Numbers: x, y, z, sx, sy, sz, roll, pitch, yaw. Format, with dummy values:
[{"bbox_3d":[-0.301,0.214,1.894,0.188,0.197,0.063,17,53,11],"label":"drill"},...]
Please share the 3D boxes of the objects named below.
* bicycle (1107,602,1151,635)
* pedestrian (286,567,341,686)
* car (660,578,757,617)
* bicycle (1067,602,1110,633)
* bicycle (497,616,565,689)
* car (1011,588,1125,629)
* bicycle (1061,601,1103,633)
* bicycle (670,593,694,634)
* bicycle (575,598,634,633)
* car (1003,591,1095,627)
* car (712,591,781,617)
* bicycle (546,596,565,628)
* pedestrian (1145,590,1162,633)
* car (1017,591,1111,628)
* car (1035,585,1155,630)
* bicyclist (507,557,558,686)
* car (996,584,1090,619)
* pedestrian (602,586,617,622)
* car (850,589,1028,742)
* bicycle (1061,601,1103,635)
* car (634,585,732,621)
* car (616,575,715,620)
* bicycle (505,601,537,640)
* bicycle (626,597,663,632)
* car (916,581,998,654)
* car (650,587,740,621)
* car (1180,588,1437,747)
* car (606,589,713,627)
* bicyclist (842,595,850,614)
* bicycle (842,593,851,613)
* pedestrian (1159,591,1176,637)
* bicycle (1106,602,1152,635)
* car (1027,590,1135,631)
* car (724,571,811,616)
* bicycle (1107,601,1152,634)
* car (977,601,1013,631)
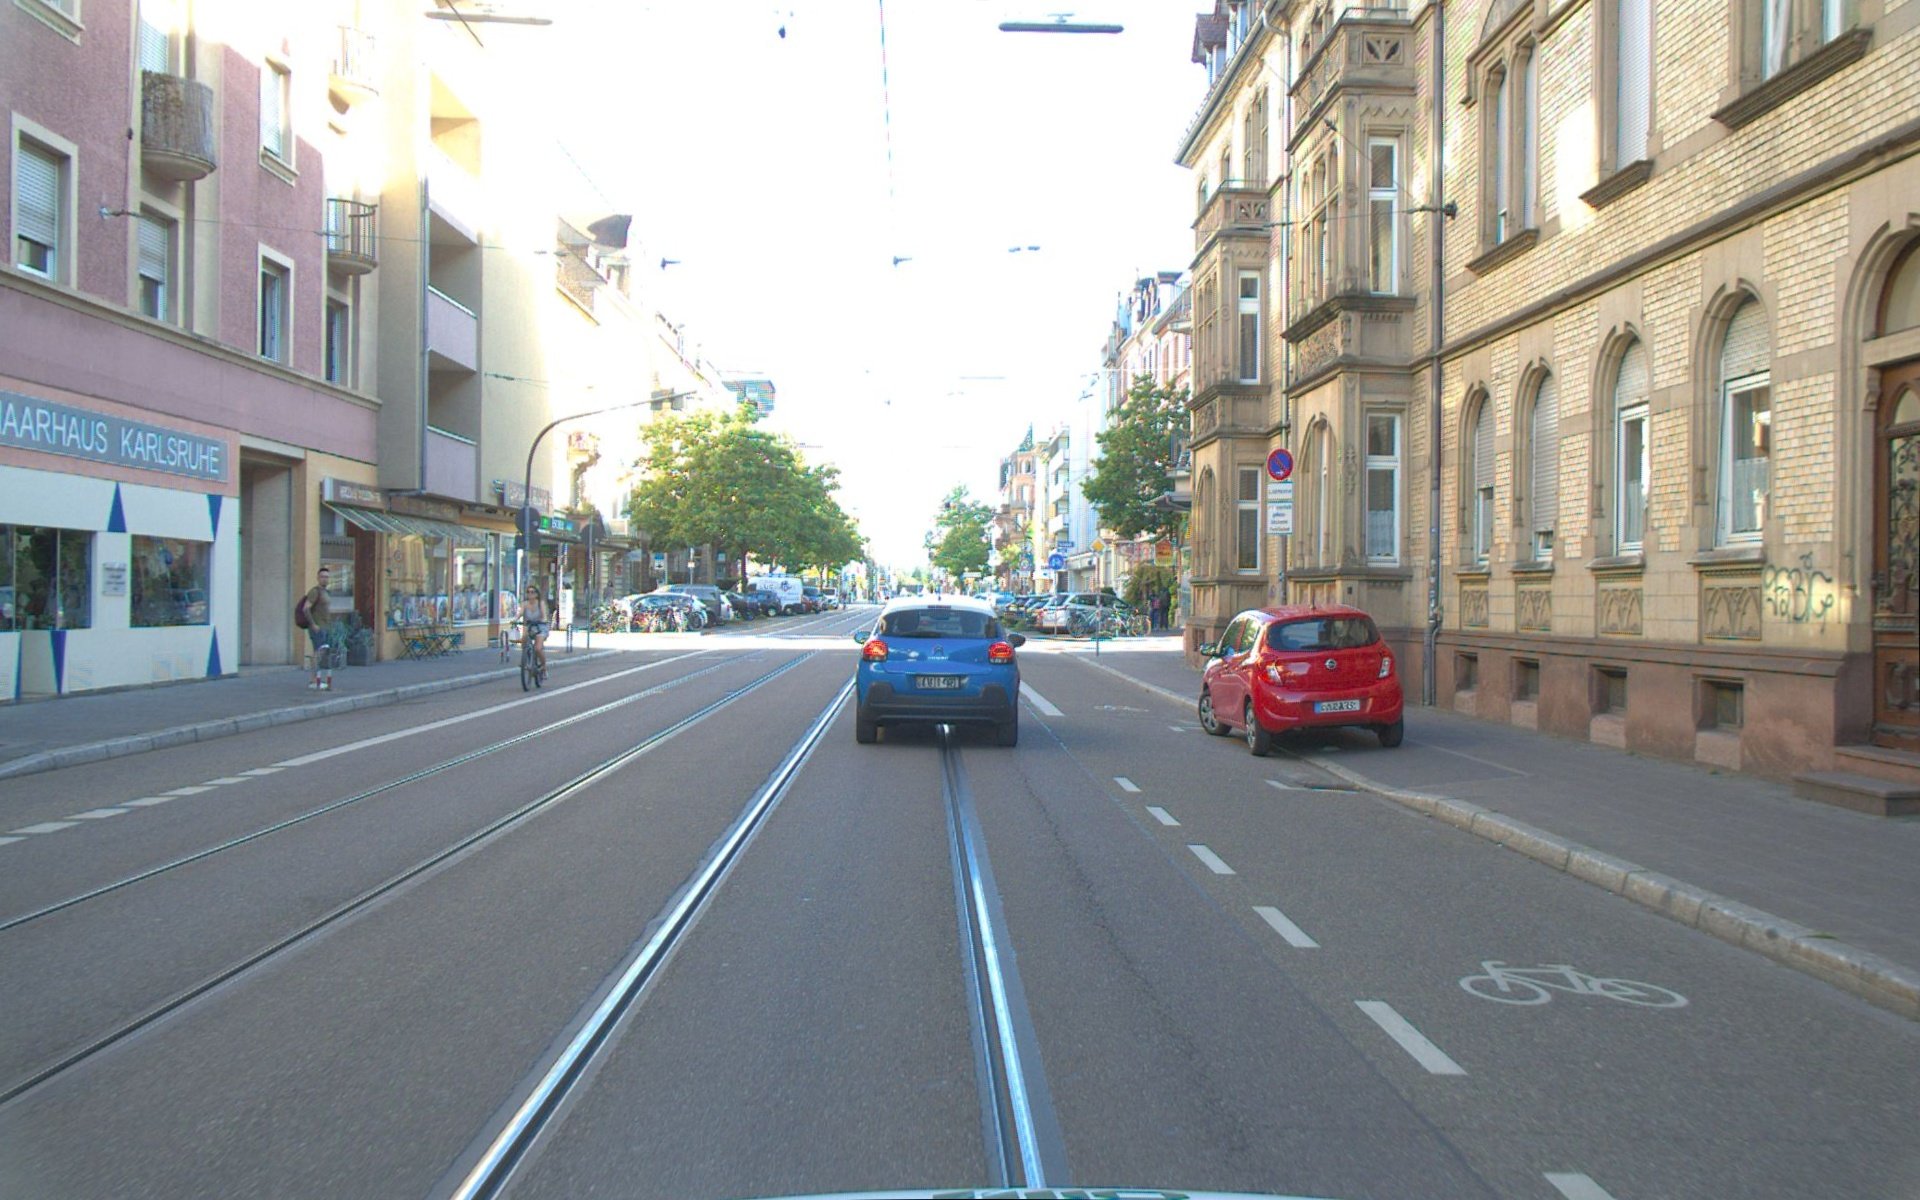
[{"bbox_3d":[6.013,0.646,58.859,1.523,1.147,0.528,1,0,5],"label":"bicycle"},{"bbox_3d":[-9.500,0.389,24.316,0.552,1.715,0.616,1,-1,-3],"label":"pedestrian"},{"bbox_3d":[-12.365,-0.114,81.330,4.314,1.814,1.972,1,0,-34],"label":"car"},{"bbox_3d":[4.694,0.639,60.384,1.523,1.098,0.307,1,-1,5],"label":"bicycle"},{"bbox_3d":[-6.965,0.838,26.938,0.590,1.115,2.044,-2,0,-1],"label":"bicycle"},{"bbox_3d":[4.552,0.362,69.709,4.380,1.624,2.071,1,0,-26],"label":"car"},{"bbox_3d":[4.491,0.619,60.782,1.527,1.147,0.295,1,-1,5],"label":"bicycle"},{"bbox_3d":[-9.977,0.455,59.434,0.668,1.342,2.433,1,2,-5],"label":"bicycle"},{"bbox_3d":[-12.555,0.532,58.348,2.390,1.128,0.680,3,3,39],"label":"bicycle"},{"bbox_3d":[4.317,0.429,79.891,3.938,1.624,2.070,1,0,-26],"label":"car"},{"bbox_3d":[-13.046,0.233,101.005,3.925,1.515,1.797,1,0,-18],"label":"car"},{"bbox_3d":[-14.398,0.417,58.810,0.397,1.129,1.825,0,0,-22],"label":"bicycle"},{"bbox_3d":[7.615,0.452,65.196,0.507,1.677,0.863,1,0,-1],"label":"pedestrian"},{"bbox_3d":[4.840,0.430,77.069,3.938,1.624,1.943,1,0,-26],"label":"car"},{"bbox_3d":[5.234,0.290,64.047,4.298,1.624,1.838,1,0,-26],"label":"car"},{"bbox_3d":[-6.936,0.346,26.879,0.599,2.049,0.733,1,-1,-1],"label":"bicyclist"},{"bbox_3d":[4.134,0.074,82.446,4.250,1.624,1.966,1,0,-26],"label":"car"},{"bbox_3d":[-16.472,0.188,77.708,0.558,1.681,0.641,1,-1,-1],"label":"pedestrian"},{"bbox_3d":[-0.253,0.652,18.052,1.727,1.466,3.555,1,0,-2],"label":"car"},{"bbox_3d":[4.320,0.635,58.611,1.371,1.147,0.550,1,0,-8],"label":"bicycle"},{"bbox_3d":[-12.260,0.137,73.217,3.970,1.475,1.679,1,0,-34],"label":"car"},{"bbox_3d":[-12.503,-0.083,70.257,3.769,1.816,1.779,1,0,-30],"label":"car"},{"bbox_3d":[-14.283,0.652,53.853,0.668,1.128,2.432,1,2,-8],"label":"bicycle"},{"bbox_3d":[-11.268,0.500,59.012,0.675,1.143,1.867,0,2,-32],"label":"bicycle"},{"bbox_3d":[-0.104,0.399,39.417,1.835,1.624,3.999,1,0,-1],"label":"car"},{"bbox_3d":[-12.256,0.180,76.455,3.787,1.455,1.750,1,0,-27],"label":"car"},{"bbox_3d":[3.785,0.683,18.782,1.828,1.508,4.399,-2,0,-2],"label":"car"},{"bbox_3d":[-11.799,0.313,64.976,3.747,1.424,1.734,1,0,-35],"label":"car"},{"bbox_3d":[-9.995,0.385,145.397,0.621,1.711,0.726,1,-1,-1],"label":"bicyclist"},{"bbox_3d":[-9.967,0.261,145.307,0.666,1.708,2.096,1,0,-1],"label":"bicycle"},{"bbox_3d":[8.224,0.542,65.535,0.507,1.809,0.863,1,0,-1],"label":"pedestrian"},{"bbox_3d":[6.071,0.663,59.428,1.639,1.147,0.552,1,0,5],"label":"bicycle"},{"bbox_3d":[4.905,0.440,66.880,3.938,1.563,1.902,1,0,-26],"label":"car"},{"bbox_3d":[-12.427,-0.415,106.801,5.317,2.797,1.787,1,-1,-32],"label":"car"},{"bbox_3d":[5.969,0.619,58.259,1.523,1.147,0.552,1,0,5],"label":"bicycle"},{"bbox_3d":[1.965,0.884,94.457,1.835,1.624,4.718,1,0,-1],"label":"car"}]
